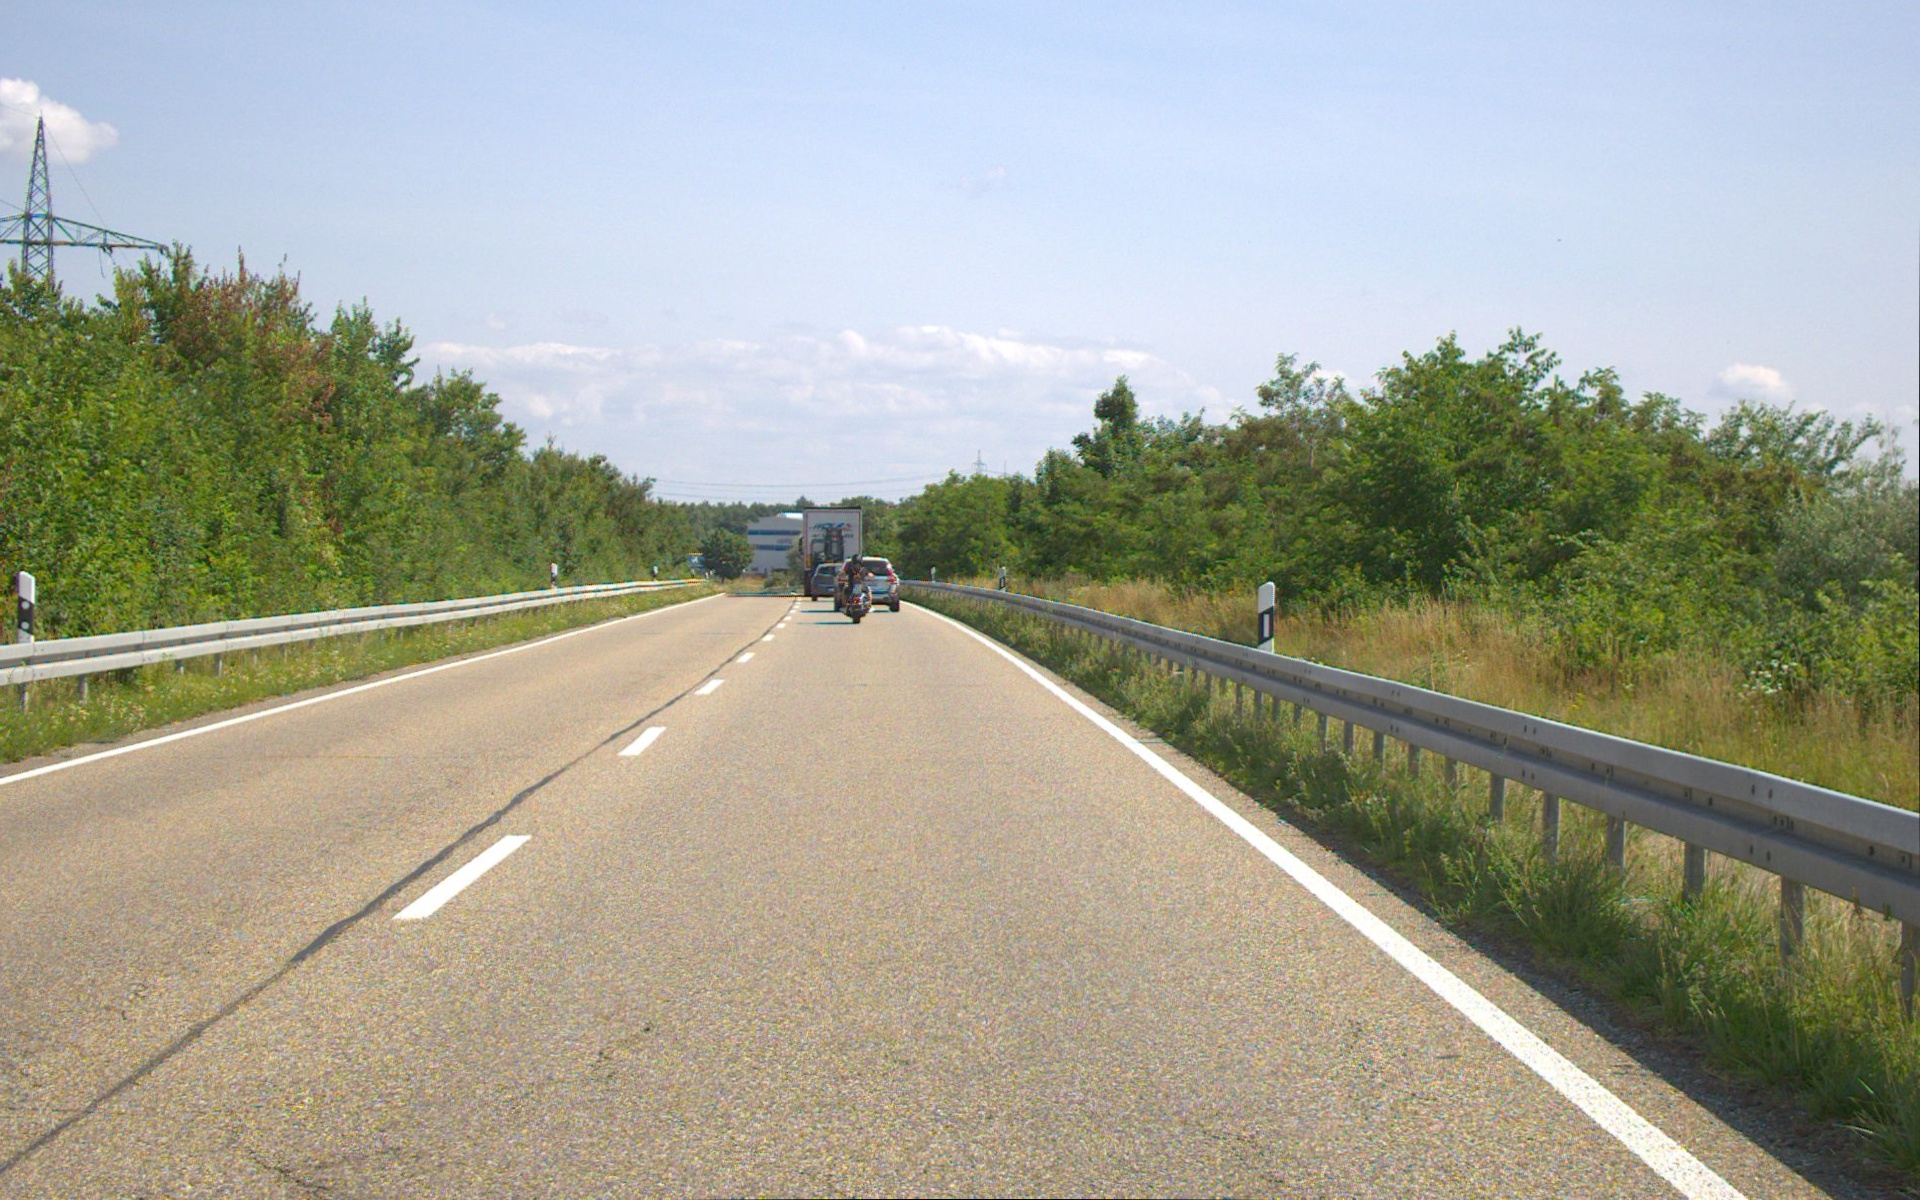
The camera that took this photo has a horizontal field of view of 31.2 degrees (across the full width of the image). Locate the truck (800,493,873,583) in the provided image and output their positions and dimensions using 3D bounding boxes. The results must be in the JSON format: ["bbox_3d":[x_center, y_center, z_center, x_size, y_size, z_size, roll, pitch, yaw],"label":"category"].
[{"bbox_3d":[-5.709,-2.862,157.490,3.241,3.965,9.445,0,1,-3],"label":"truck"}]

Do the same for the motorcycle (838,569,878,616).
[{"bbox_3d":[-2.282,-0.175,77.155,0.780,0.972,2.361,0,2,1],"label":"motorcycle"}]

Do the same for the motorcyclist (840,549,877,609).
[{"bbox_3d":[-2.269,-0.479,77.166,0.780,1.321,0.813,0,2,1],"label":"motorcyclist"}]

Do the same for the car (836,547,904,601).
[{"bbox_3d":[-2.593,-0.759,98.005,1.825,1.446,4.001,0,2,-3],"label":"car"}]

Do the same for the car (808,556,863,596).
[{"bbox_3d":[-4.703,-0.913,130.468,1.866,1.415,4.000,1,2,1],"label":"car"}]
